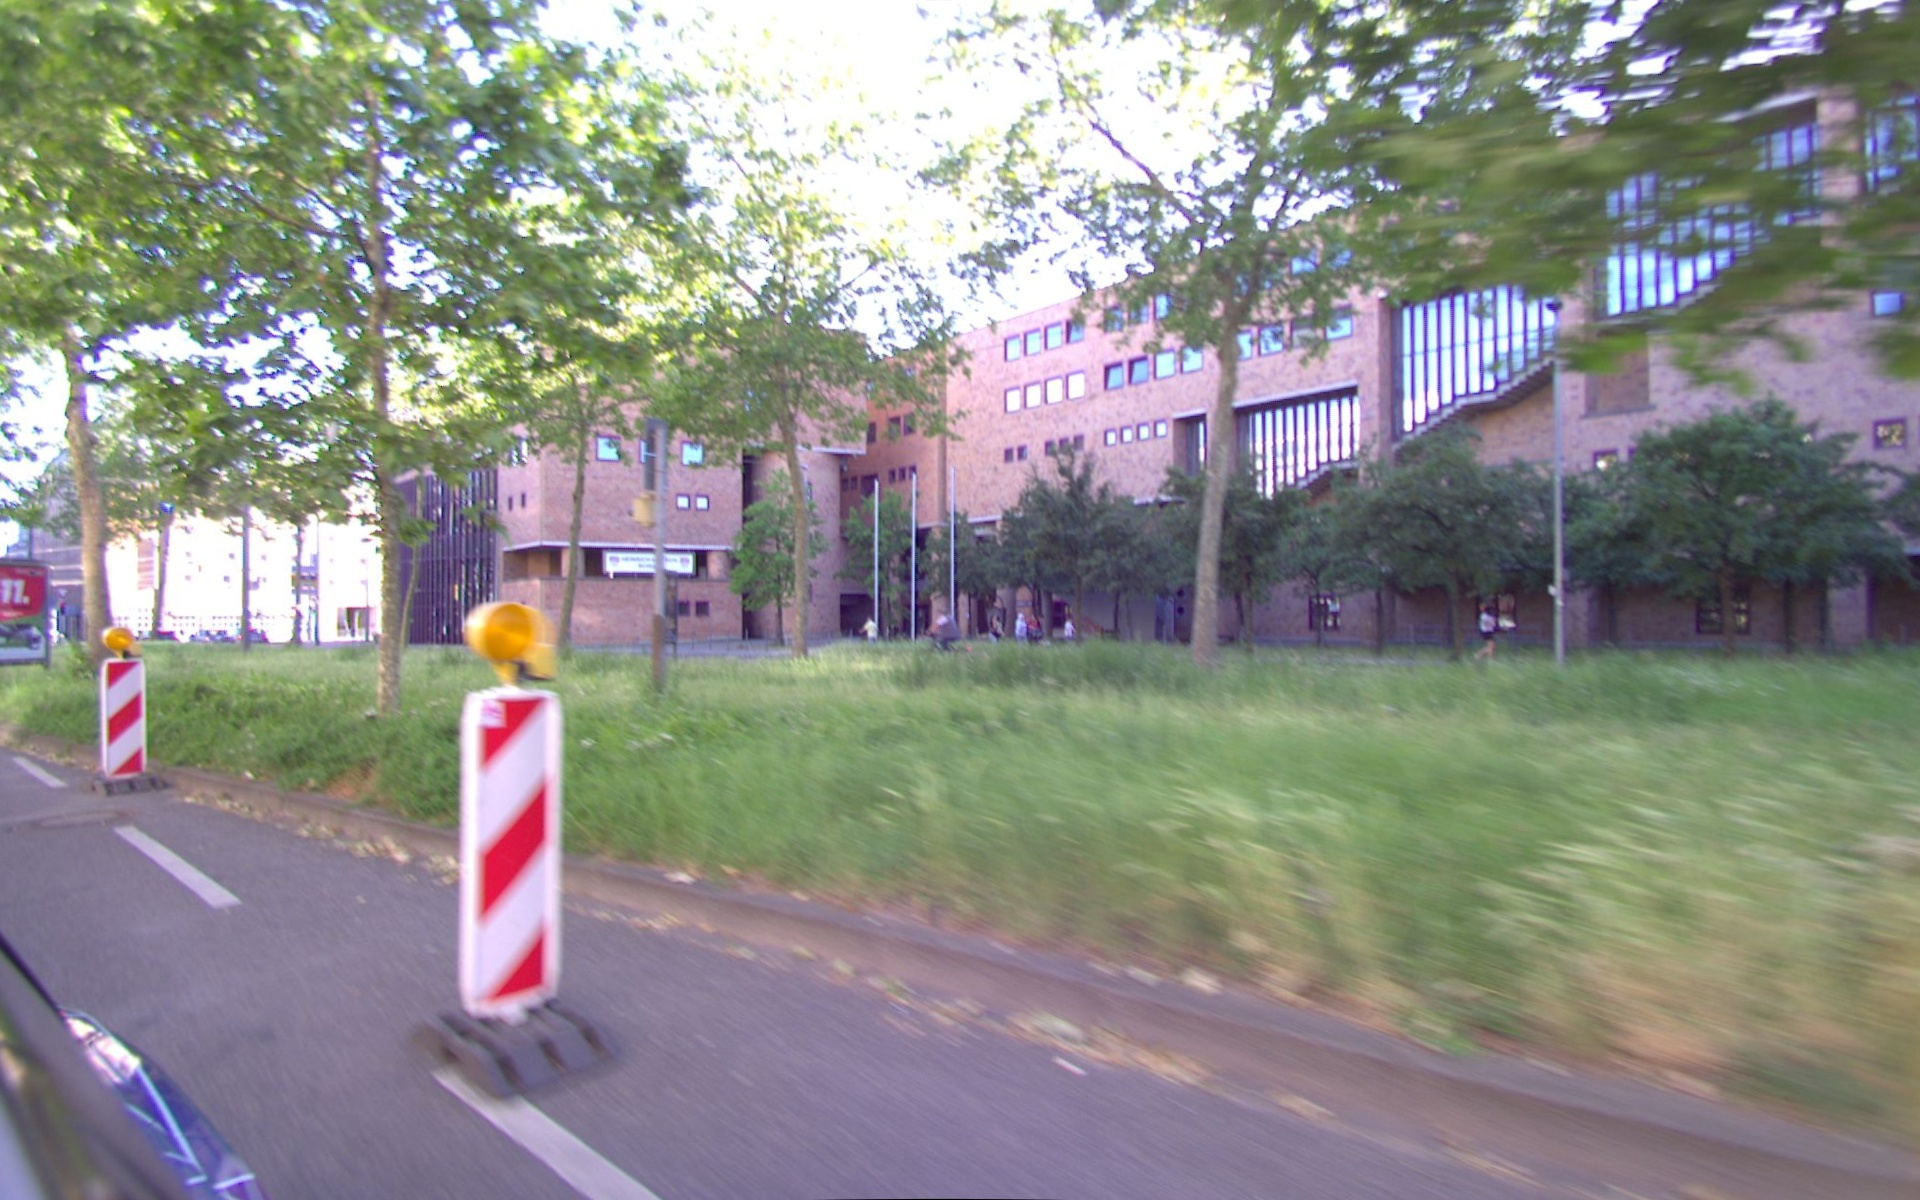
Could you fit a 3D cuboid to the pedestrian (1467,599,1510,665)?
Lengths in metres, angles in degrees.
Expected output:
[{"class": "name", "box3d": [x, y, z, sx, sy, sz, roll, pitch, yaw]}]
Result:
[{"class": "pedestrian", "box3d": [15.083, 0.921, 28.883, 0.900, 1.845, 0.816, -2, -2, 38]}]

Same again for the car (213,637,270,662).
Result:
[{"class": "car", "box3d": [-43.534, 3.004, 61.295, 4.142, 1.440, 1.655, -2, -2, 36]}]

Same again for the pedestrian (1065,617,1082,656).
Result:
[{"class": "pedestrian", "box3d": [4.357, 1.399, 38.907, 0.462, 1.517, 0.479, -2, -2, 34]}]

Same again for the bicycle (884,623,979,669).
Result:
[{"class": "bicycle", "box3d": [-0.761, 1.184, 26.436, 2.433, 1.134, 0.947, -1, -1, 38]}]

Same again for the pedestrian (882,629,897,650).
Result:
[{"class": "pedestrian", "box3d": [-4.009, 2.252, 57.537, 0.627, 1.207, 0.660, -2, -2, 28]}]

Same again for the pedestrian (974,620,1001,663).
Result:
[{"class": "pedestrian", "box3d": [1.062, 1.603, 39.012, 0.755, 1.629, 0.658, -2, -2, 37]}]

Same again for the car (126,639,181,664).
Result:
[{"class": "car", "box3d": [-49.087, 3.106, 61.573, 4.142, 1.440, 1.598, -2, -2, 36]}]

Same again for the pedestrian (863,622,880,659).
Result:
[{"class": "pedestrian", "box3d": [-3.746, 1.696, 42.788, 0.411, 1.555, 0.654, 1, -2, -42]}]

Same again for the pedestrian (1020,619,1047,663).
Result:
[{"class": "pedestrian", "box3d": [2.786, 1.556, 38.399, 0.756, 1.629, 0.657, -2, -2, 41]}]

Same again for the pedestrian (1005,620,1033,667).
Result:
[{"class": "pedestrian", "box3d": [2.217, 1.622, 37.825, 0.795, 1.735, 0.658, -2, -2, 37]}]

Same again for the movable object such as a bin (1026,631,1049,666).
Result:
[{"class": "movable object such as a bin", "box3d": [2.866, 1.788, 37.383, 0.755, 1.289, 0.352, -2, -2, 37]}]

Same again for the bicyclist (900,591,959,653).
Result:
[{"class": "bicyclist", "box3d": [-0.807, 0.591, 26.494, 1.208, 1.583, 0.932, -2, -2, 38]}]

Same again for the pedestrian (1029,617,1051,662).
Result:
[{"class": "pedestrian", "box3d": [3.098, 1.512, 38.960, 0.595, 1.692, 0.605, -2, -2, 36]}]

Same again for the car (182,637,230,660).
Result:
[{"class": "car", "box3d": [-48.531, 3.103, 65.146, 3.215, 1.440, 1.598, -2, -2, 36]}]

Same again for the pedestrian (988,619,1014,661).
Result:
[{"class": "pedestrian", "box3d": [1.605, 1.571, 39.684, 0.755, 1.629, 0.657, -2, -2, 38]}]

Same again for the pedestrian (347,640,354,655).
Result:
[{"class": "pedestrian", "box3d": [-61.216, 4.772, 101.610, 0.558, 1.516, 0.513, 0, -4, -31]}]
